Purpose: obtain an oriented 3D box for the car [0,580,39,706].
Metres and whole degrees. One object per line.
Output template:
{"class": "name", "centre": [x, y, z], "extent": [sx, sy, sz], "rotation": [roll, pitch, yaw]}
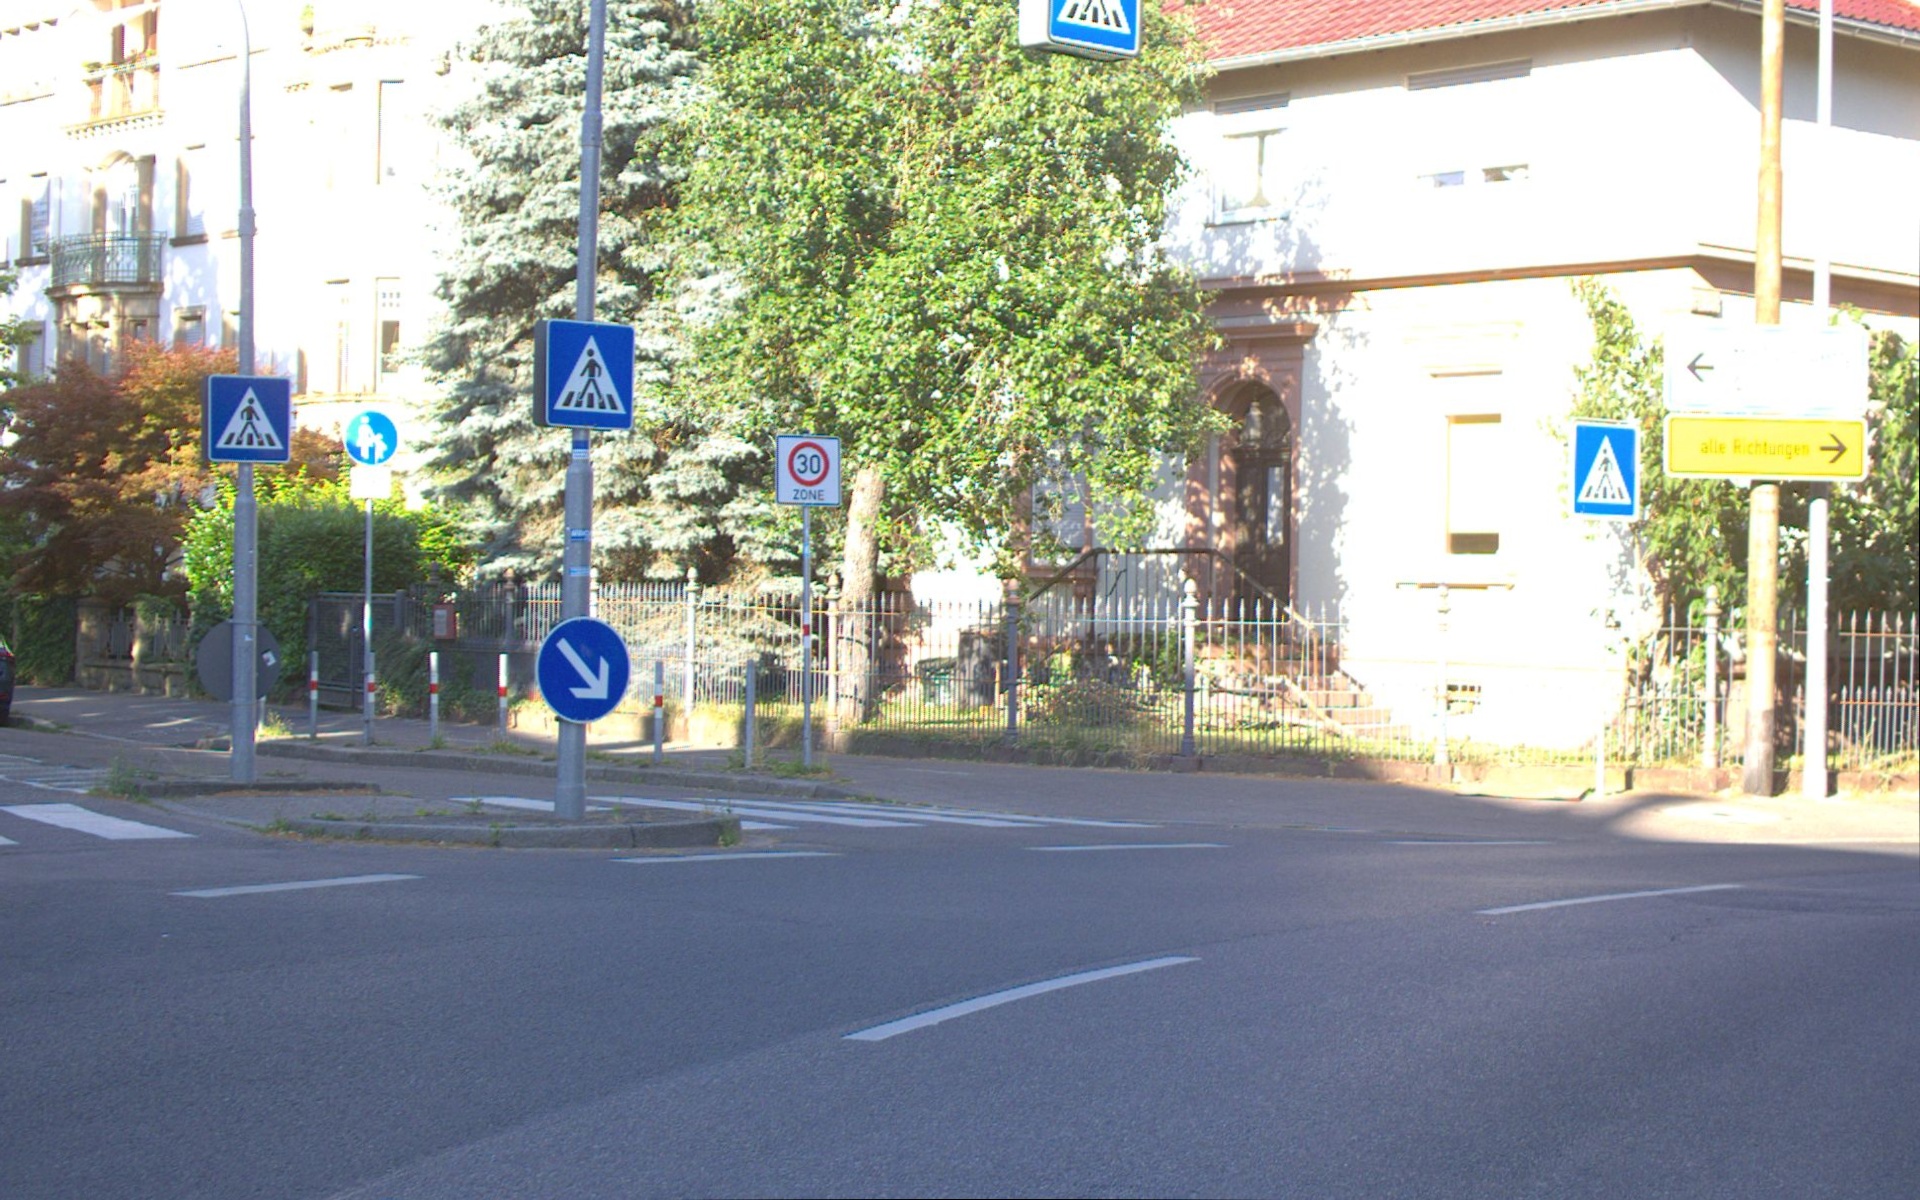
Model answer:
{"class": "car", "centre": [-13.566, 0.499, 45.168], "extent": [1.993, 1.590, 4.001], "rotation": [2, 0, -27]}
